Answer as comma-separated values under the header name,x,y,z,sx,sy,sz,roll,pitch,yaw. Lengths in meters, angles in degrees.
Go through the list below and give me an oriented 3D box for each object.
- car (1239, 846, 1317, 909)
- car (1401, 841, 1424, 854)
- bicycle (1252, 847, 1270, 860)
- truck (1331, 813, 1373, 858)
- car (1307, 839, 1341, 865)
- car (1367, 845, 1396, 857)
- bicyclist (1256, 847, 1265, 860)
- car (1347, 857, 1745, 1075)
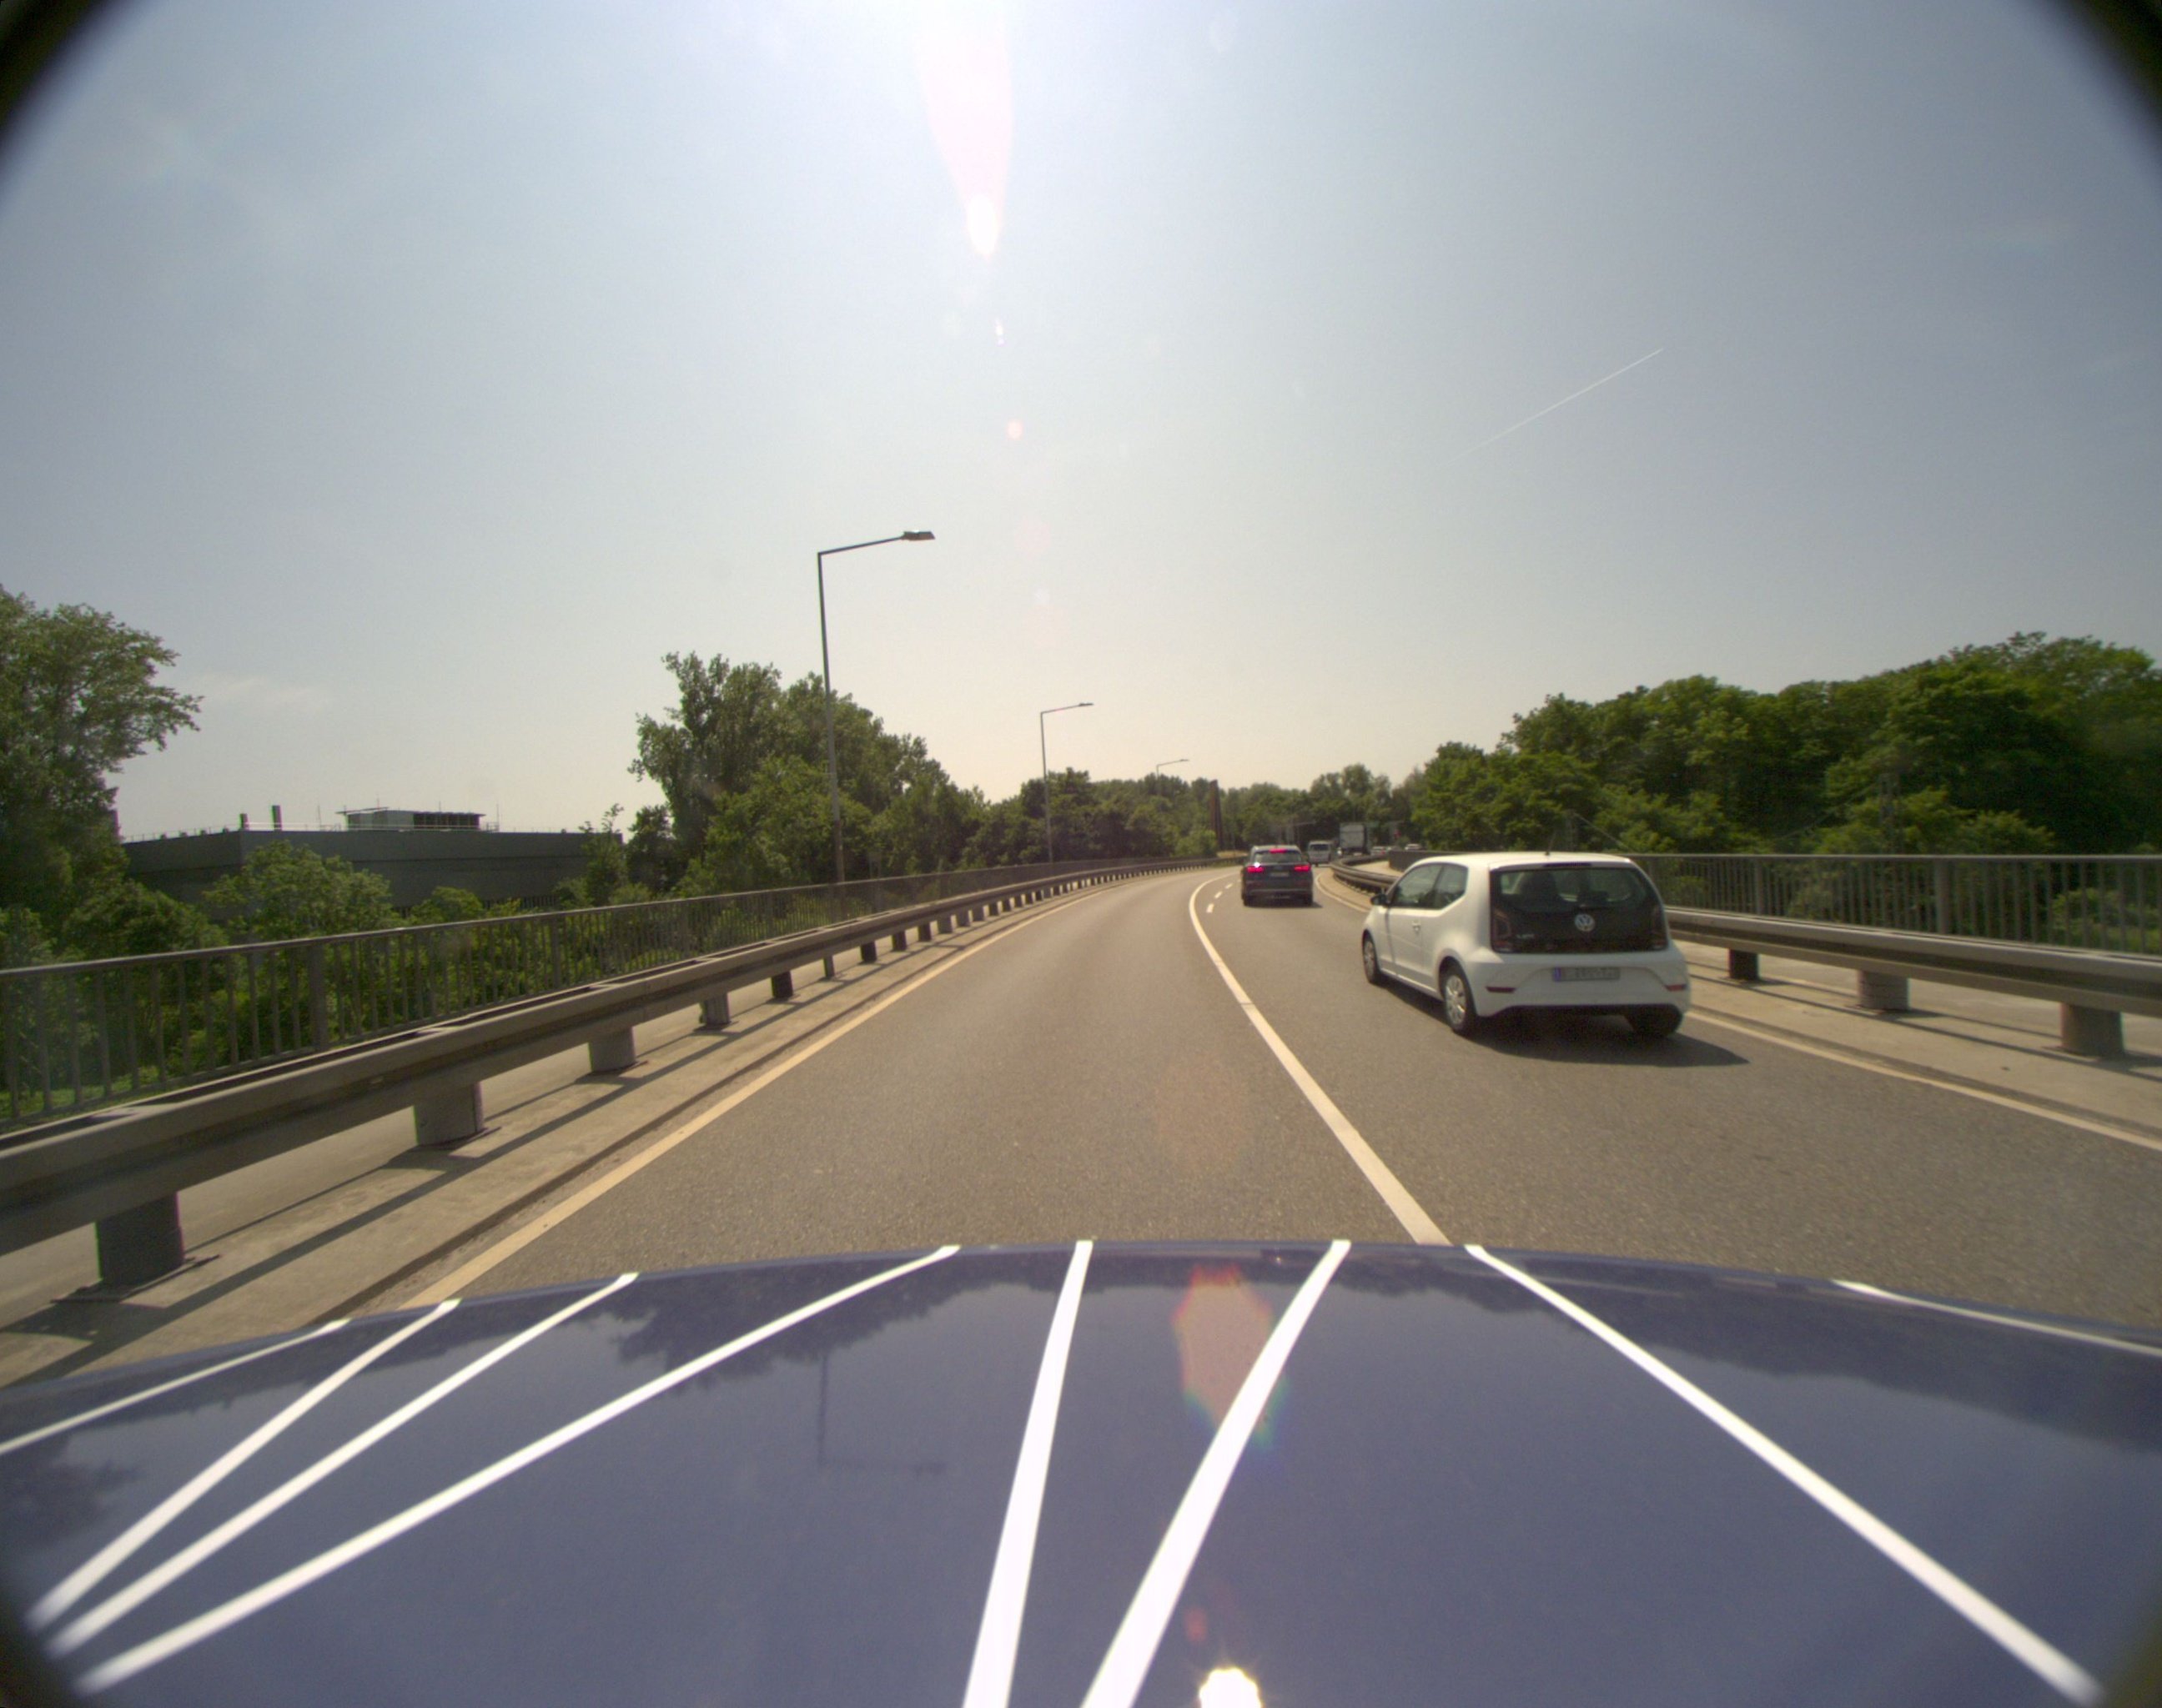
name,x,y,z,sx,sy,sz,roll,pitch,yaw
car,5.599,0.618,22.039,1.845,1.626,4.237,-1,0,10
car,45.592,-0.876,104.358,1.828,1.629,4.587,-1,1,38
bicycle,22.139,-0.081,93.452,0.657,1.564,2.370,-2,0,-26
truck,25.592,-1.682,71.558,2.707,3.968,6.197,0,1,30
car,19.345,-0.194,60.402,1.862,1.988,4.822,-1,0,27
car,37.175,-0.376,93.944,1.828,1.398,4.897,0,1,39
bicyclist,22.086,-0.050,93.557,0.671,1.589,0.690,-2,0,-26
car,3.804,0.790,6.987,1.668,1.455,3.487,-2,0,4
